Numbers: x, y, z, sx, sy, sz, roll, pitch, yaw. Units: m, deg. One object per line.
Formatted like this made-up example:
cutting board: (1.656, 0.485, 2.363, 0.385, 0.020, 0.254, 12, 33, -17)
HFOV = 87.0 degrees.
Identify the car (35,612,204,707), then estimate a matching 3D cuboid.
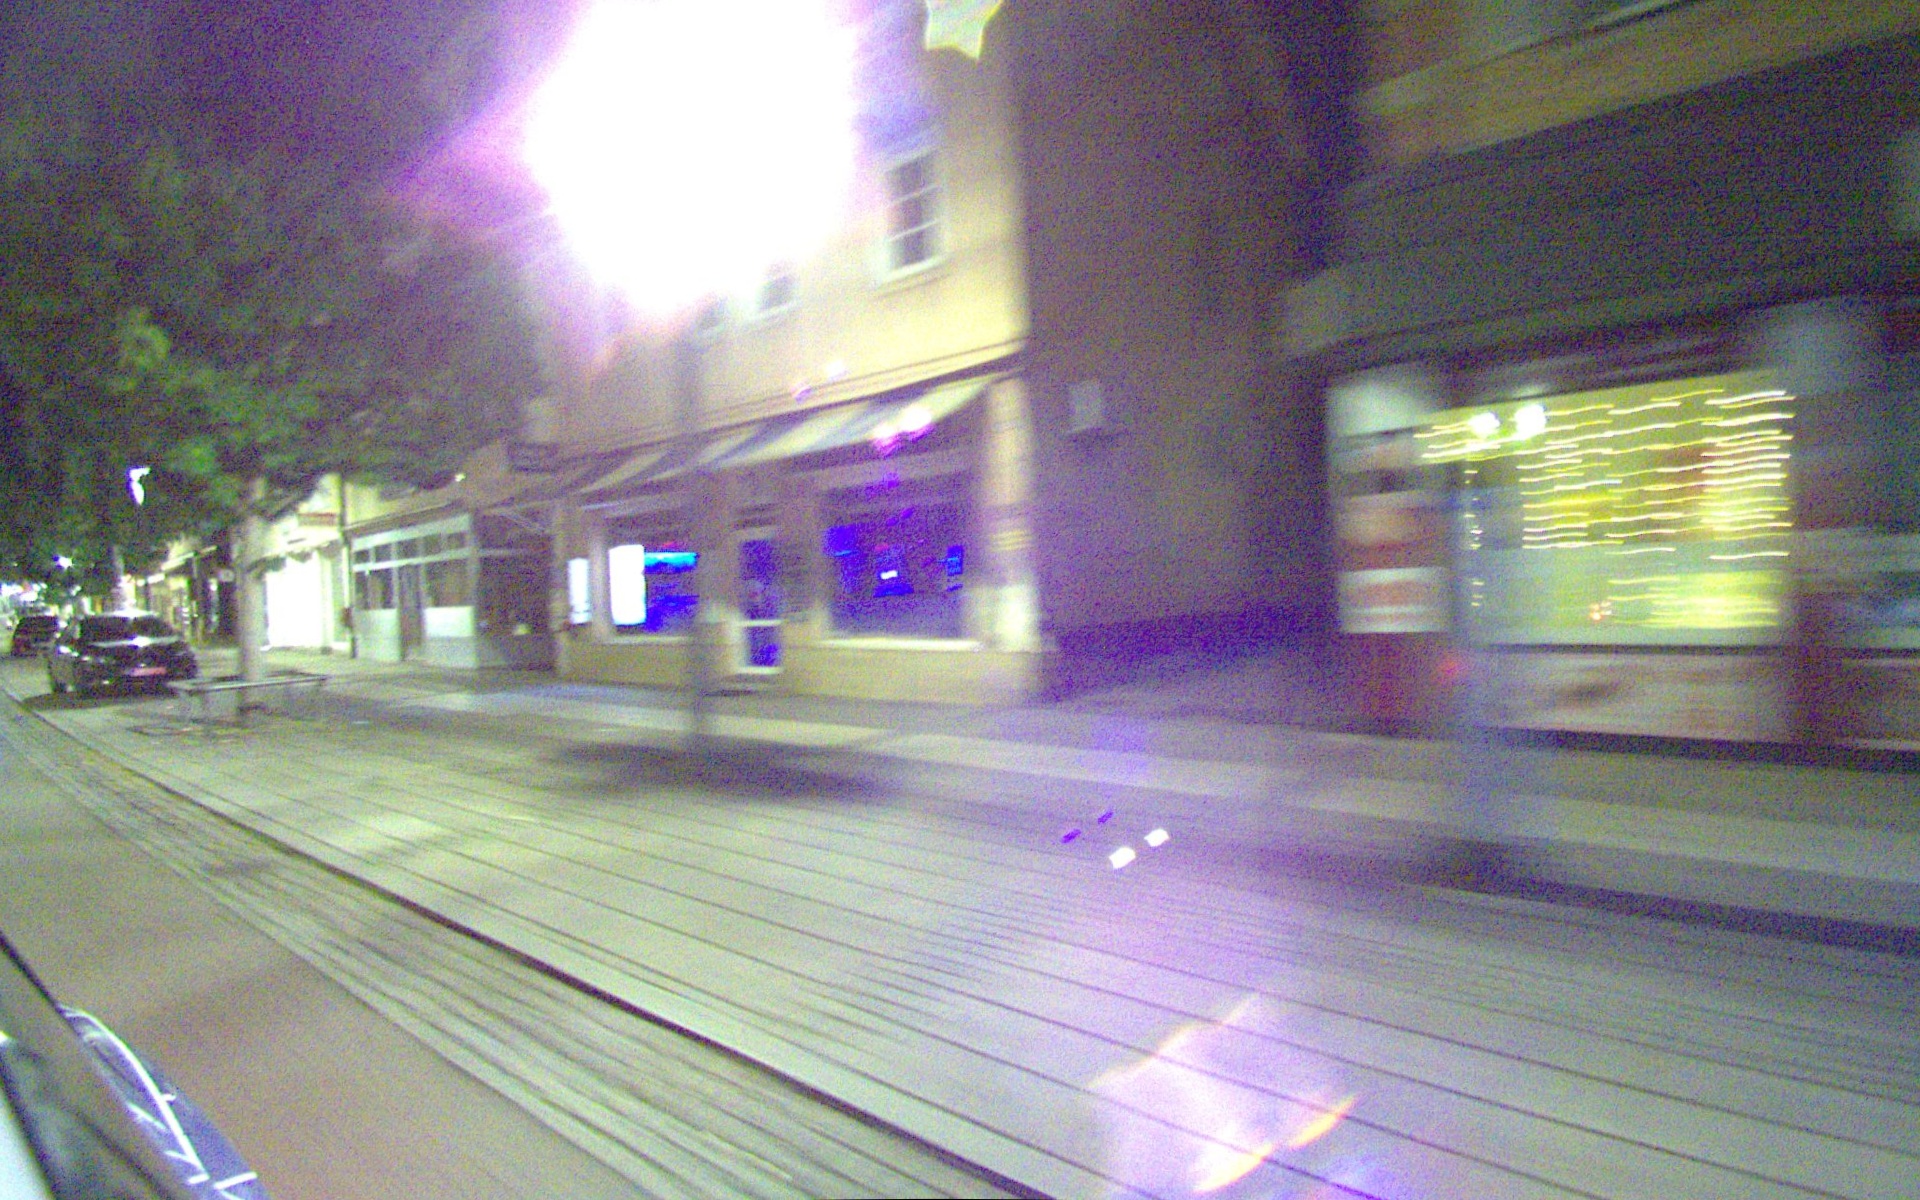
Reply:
car: (-15.869, 1.057, 19.051, 3.997, 1.516, 1.773, -2, 1, 41)

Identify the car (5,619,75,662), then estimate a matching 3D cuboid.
car: (-35.101, 1.502, 38.575, 1.811, 1.478, 4.003, -2, 0, -44)
